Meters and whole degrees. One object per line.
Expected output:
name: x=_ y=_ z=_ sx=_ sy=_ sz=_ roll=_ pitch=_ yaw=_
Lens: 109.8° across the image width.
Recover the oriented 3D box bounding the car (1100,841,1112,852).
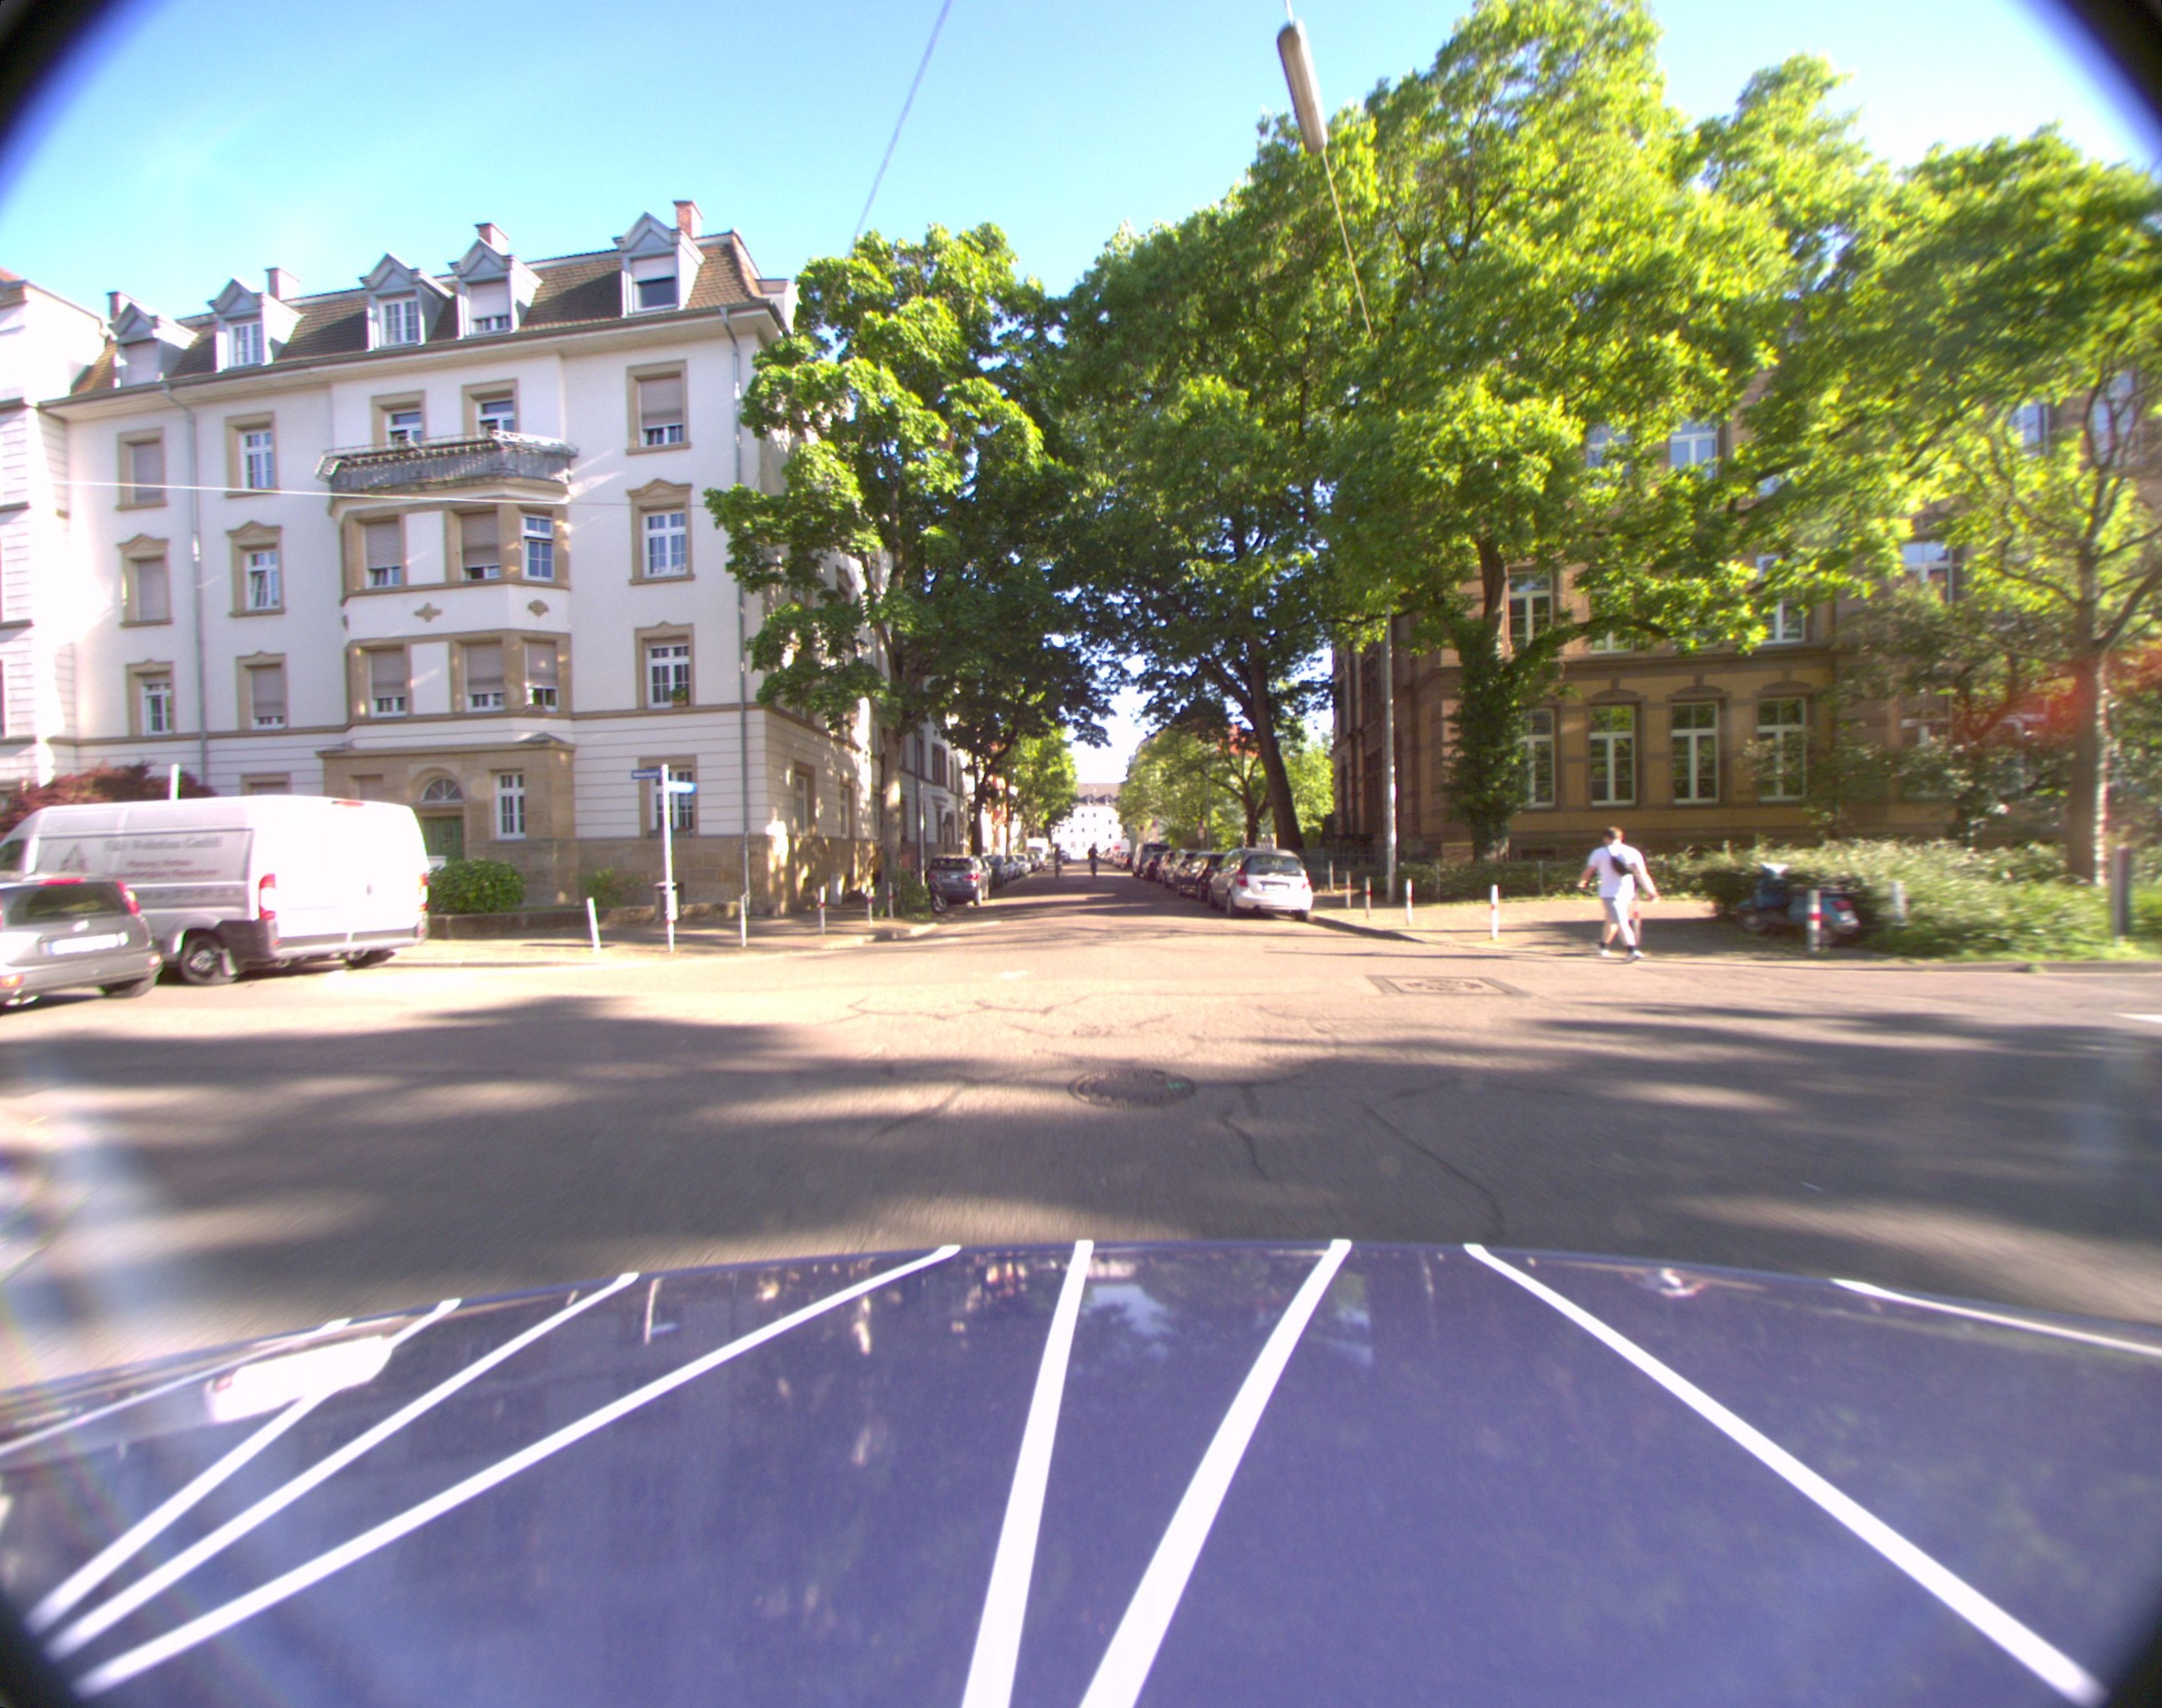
car: x=3.858 y=-1.191 z=118.480 sx=1.597 sy=1.557 sz=3.999 roll=-2 pitch=1 yaw=-1

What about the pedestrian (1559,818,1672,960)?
pedestrian: x=6.898 y=0.424 z=9.863 sx=0.804 sy=1.736 sz=1.006 roll=-1 pitch=1 yaw=7

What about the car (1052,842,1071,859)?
car: x=-2.383 y=-0.415 z=93.362 sx=2.146 sy=2.002 sz=4.862 roll=-2 pitch=1 yaw=0

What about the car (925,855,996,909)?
car: x=-3.816 y=0.835 z=24.629 sx=1.685 sy=1.531 sz=4.133 roll=-1 pitch=1 yaw=-1

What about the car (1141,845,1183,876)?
car: x=4.054 y=0.288 z=38.408 sx=1.731 sy=1.455 sz=3.844 roll=-1 pitch=1 yaw=0

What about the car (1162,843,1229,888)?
car: x=4.167 y=0.381 z=28.216 sx=1.793 sy=1.524 sz=3.999 roll=1 pitch=1 yaw=-1

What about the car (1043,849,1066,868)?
car: x=-2.148 y=0.364 z=62.808 sx=1.654 sy=1.449 sz=3.999 roll=-2 pitch=1 yaw=0

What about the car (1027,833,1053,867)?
car: x=-4.015 y=-0.428 z=74.939 sx=1.998 sy=2.984 sz=6.238 roll=-4 pitch=1 yaw=0

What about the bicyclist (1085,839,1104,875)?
bicyclist: x=0.749 y=0.163 z=42.165 sx=0.967 sy=1.904 sz=1.139 roll=-2 pitch=1 yaw=0

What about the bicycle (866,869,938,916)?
bicycle: x=-4.588 y=0.984 z=19.454 sx=1.795 sy=1.155 sz=0.433 roll=0 pitch=1 yaw=16

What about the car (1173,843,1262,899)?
car: x=4.062 y=0.457 z=23.257 sx=1.586 sy=1.456 sz=3.996 roll=2 pitch=2 yaw=-6

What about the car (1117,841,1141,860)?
car: x=4.089 y=-0.332 z=64.711 sx=1.755 sy=1.464 sz=3.999 roll=-3 pitch=1 yaw=0

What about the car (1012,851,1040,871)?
car: x=-4.198 y=0.506 z=58.279 sx=1.812 sy=1.412 sz=3.999 roll=-2 pitch=1 yaw=0

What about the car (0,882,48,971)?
car: x=-19.589 y=1.255 z=12.059 sx=3.996 sy=1.431 sz=1.789 roll=-2 pitch=1 yaw=2

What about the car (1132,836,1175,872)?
car: x=4.112 y=-0.052 z=43.886 sx=1.998 sy=1.946 sz=5.041 roll=1 pitch=1 yaw=0

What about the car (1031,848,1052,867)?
car: x=-3.579 y=0.284 z=69.240 sx=1.660 sy=1.674 sz=4.082 roll=-2 pitch=1 yaw=0

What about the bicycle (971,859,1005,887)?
bicycle: x=-4.141 y=0.843 z=33.790 sx=1.414 sy=1.188 sz=0.336 roll=-2 pitch=1 yaw=-2

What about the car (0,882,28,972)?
car: x=-19.679 y=1.276 z=12.026 sx=3.881 sy=1.456 sz=1.727 roll=-2 pitch=1 yaw=5

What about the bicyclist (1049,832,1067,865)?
bicyclist: x=-1.268 y=-0.306 z=42.148 sx=0.934 sy=1.809 sz=1.077 roll=-2 pitch=1 yaw=0

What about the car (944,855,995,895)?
car: x=-4.377 y=0.796 z=30.276 sx=1.728 sy=1.399 sz=3.854 roll=-1 pitch=1 yaw=-5

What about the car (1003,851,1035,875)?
car: x=-4.323 y=0.572 z=53.365 sx=1.824 sy=1.521 sz=3.999 roll=-2 pitch=1 yaw=0

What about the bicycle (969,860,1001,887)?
bicycle: x=-4.402 y=0.896 z=34.930 sx=1.414 sy=1.188 sz=0.336 roll=-2 pitch=1 yaw=-2

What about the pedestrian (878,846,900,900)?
pedestrian: x=-6.142 y=0.601 z=24.290 sx=0.520 sy=1.709 sz=0.516 roll=-2 pitch=1 yaw=-2

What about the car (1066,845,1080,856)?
car: x=-1.271 y=-0.581 z=123.987 sx=2.146 sy=1.758 sz=4.808 roll=-2 pitch=1 yaw=1

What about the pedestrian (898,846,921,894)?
pedestrian: x=-6.767 y=0.605 z=29.952 sx=0.706 sy=1.834 sz=0.840 roll=-2 pitch=1 yaw=-6

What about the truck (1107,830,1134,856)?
truck: x=4.224 y=-1.194 z=82.479 sx=2.395 sy=2.642 sz=7.091 roll=-2 pitch=1 yaw=-1

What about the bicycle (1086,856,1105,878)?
bicycle: x=0.796 y=0.692 z=42.132 sx=0.985 sy=1.136 sz=2.547 roll=-2 pitch=1 yaw=0

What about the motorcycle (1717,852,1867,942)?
motorcycle: x=9.728 y=0.541 z=10.494 sx=0.543 sy=1.095 sz=1.896 roll=-1 pitch=1 yaw=9

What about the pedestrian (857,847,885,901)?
pedestrian: x=-6.709 y=0.629 z=24.287 sx=0.624 sy=1.675 sz=0.818 roll=-2 pitch=1 yaw=-1

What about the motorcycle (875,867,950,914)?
motorcycle: x=-4.490 y=0.976 z=20.318 sx=1.855 sy=1.205 sz=0.678 roll=1 pitch=0 yaw=-3

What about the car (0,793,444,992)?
car: x=-12.775 y=0.517 z=10.945 sx=5.656 sy=2.454 sz=2.307 roll=-1 pitch=1 yaw=9

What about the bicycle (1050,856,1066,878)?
bicycle: x=-1.245 y=0.687 z=42.095 sx=0.810 sy=1.136 sz=2.547 roll=-2 pitch=1 yaw=0

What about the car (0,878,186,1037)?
car: x=-12.250 y=1.085 z=8.046 sx=3.530 sy=1.474 sz=1.639 roll=-2 pitch=1 yaw=0

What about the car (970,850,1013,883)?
car: x=-4.500 y=0.589 z=38.631 sx=1.639 sy=1.524 sz=3.999 roll=-2 pitch=1 yaw=0

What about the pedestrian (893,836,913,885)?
pedestrian: x=-6.813 y=0.258 z=29.059 sx=0.529 sy=1.834 sz=0.707 roll=-2 pitch=1 yaw=1

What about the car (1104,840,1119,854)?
car: x=4.128 y=-0.957 z=102.639 sx=1.809 sy=1.791 sz=4.189 roll=-2 pitch=1 yaw=-1

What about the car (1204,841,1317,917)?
car: x=4.125 y=0.497 z=18.101 sx=1.710 sy=1.550 sz=3.951 roll=1 pitch=1 yaw=0

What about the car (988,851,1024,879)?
car: x=-4.347 y=0.616 z=44.406 sx=1.651 sy=1.434 sz=3.999 roll=-2 pitch=1 yaw=0

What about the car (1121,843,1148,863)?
car: x=4.076 y=-0.131 z=58.362 sx=1.739 sy=1.456 sz=3.999 roll=-1 pitch=1 yaw=0

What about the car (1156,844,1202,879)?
car: x=4.292 y=0.305 z=33.604 sx=1.624 sy=1.455 sz=3.310 roll=-1 pitch=1 yaw=0
